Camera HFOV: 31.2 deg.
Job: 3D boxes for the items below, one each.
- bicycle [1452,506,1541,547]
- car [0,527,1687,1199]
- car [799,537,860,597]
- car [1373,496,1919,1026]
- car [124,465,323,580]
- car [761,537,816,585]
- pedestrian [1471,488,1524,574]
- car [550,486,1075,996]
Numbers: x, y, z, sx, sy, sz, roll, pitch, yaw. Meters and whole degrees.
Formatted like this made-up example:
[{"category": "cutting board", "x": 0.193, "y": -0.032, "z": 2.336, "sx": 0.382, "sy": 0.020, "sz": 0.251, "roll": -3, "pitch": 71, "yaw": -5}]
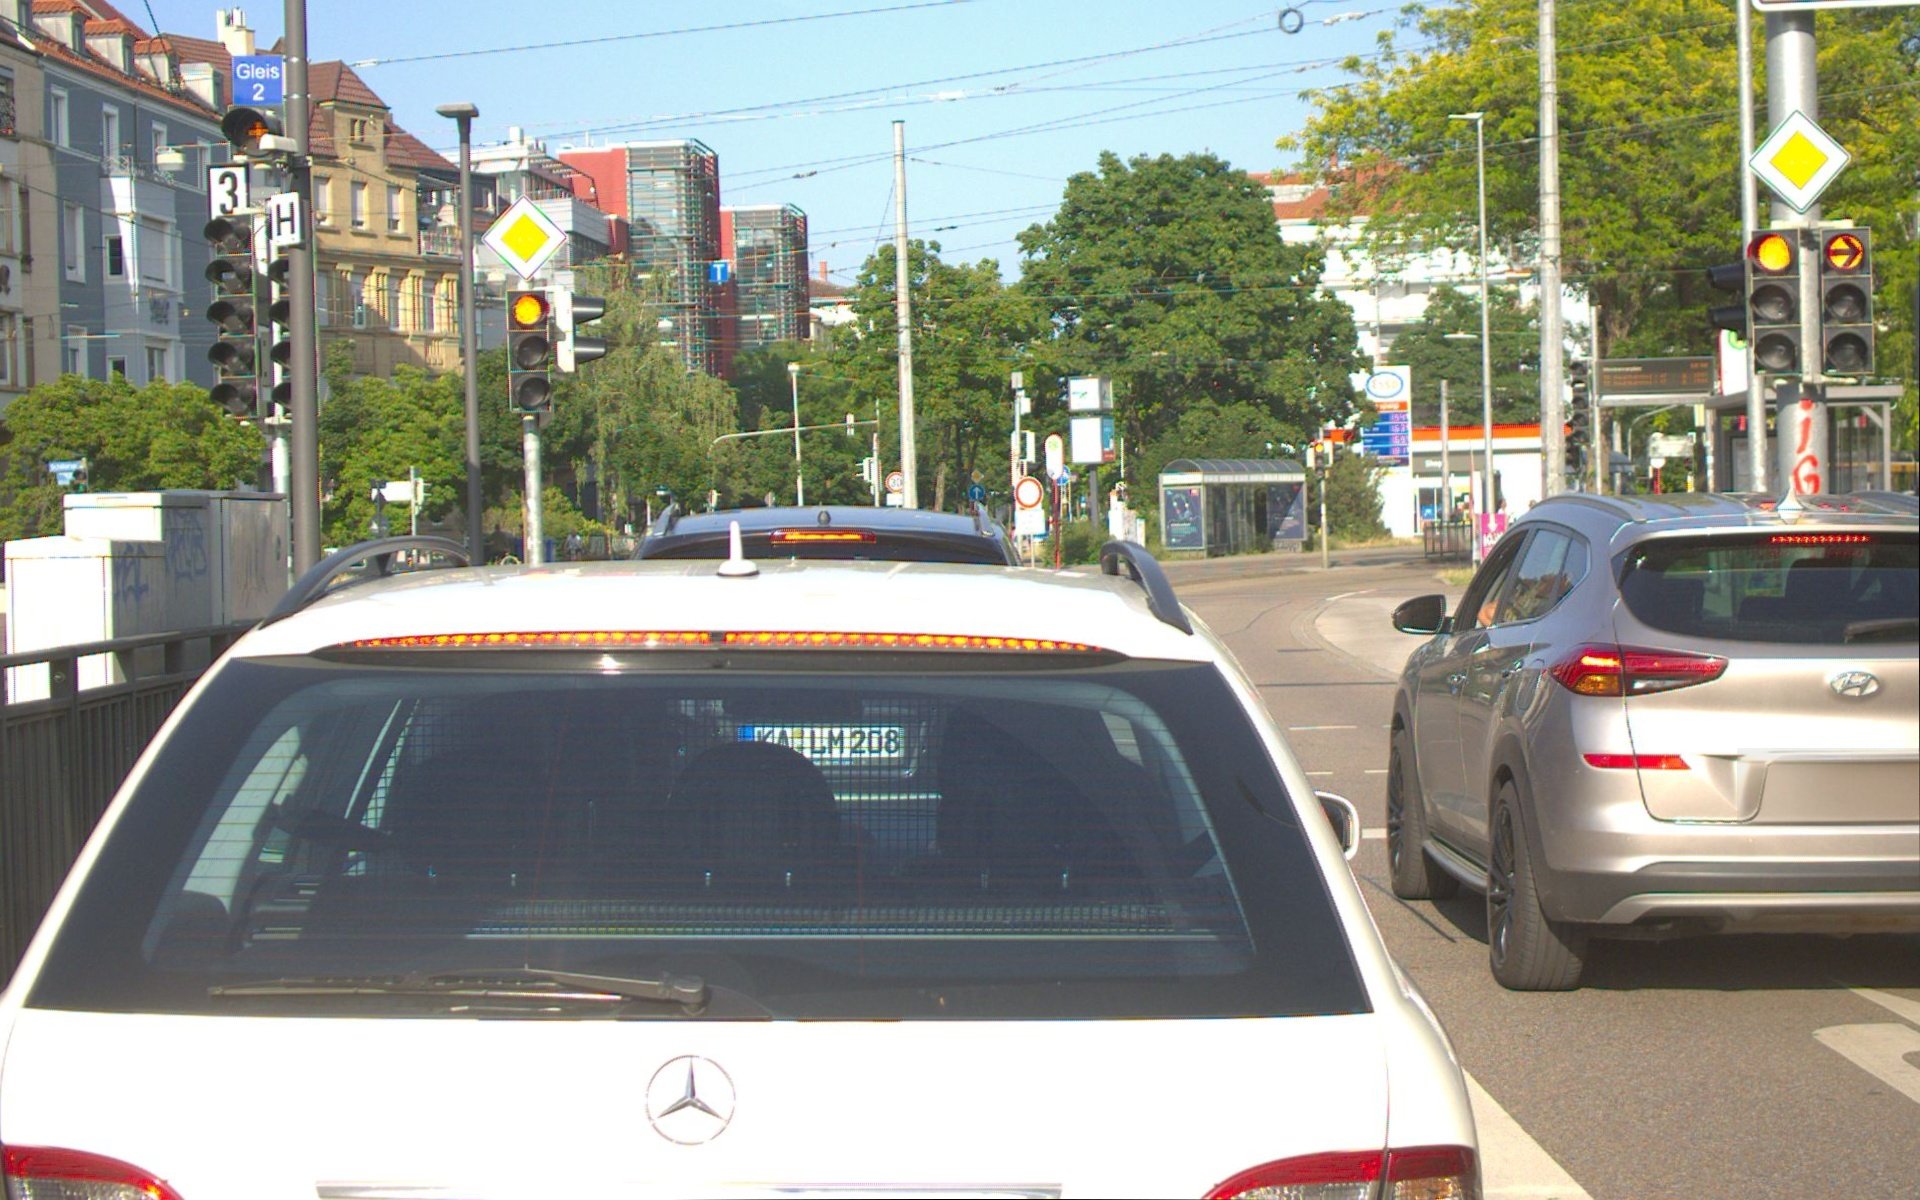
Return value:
[{"category": "bicycle", "x": 13.219, "y": -1.811, "z": 84.694, "sx": 2.019, "sy": 0.943, "sz": 0.878, "roll": -1, "pitch": 1, "yaw": 19}, {"category": "car", "x": -0.271, "y": 0.643, "z": 5.078, "sx": 1.835, "sy": 1.496, "sz": 3.815, "roll": 0, "pitch": 1, "yaw": -1}, {"category": "car", "x": -5.212, "y": -1.351, "z": 137.980, "sx": 2.177, "sy": 2.231, "sz": 5.253, "roll": -2, "pitch": 2, "yaw": 0}, {"category": "car", "x": 2.642, "y": 0.445, "z": 12.250, "sx": 1.835, "sy": 1.594, "sz": 3.815, "roll": 0, "pitch": 1, "yaw": -1}, {"category": "car", "x": -13.681, "y": -1.448, "z": 64.204, "sx": 2.145, "sy": 2.007, "sz": 5.386, "roll": -2, "pitch": 1, "yaw": 4}, {"category": "car", "x": -6.107, "y": -1.405, "z": 122.679, "sx": 1.676, "sy": 1.520, "sz": 4.125, "roll": -2, "pitch": 2, "yaw": 0}, {"category": "pedestrian", "x": 12.797, "y": -1.650, "z": 81.888, "sx": 0.997, "sy": 2.007, "sz": 0.827, "roll": -1, "pitch": 1, "yaw": 27}, {"category": "car", "x": -0.483, "y": 0.401, "z": 12.661, "sx": 1.641, "sy": 1.594, "sz": 3.815, "roll": 0, "pitch": 1, "yaw": -1}]
